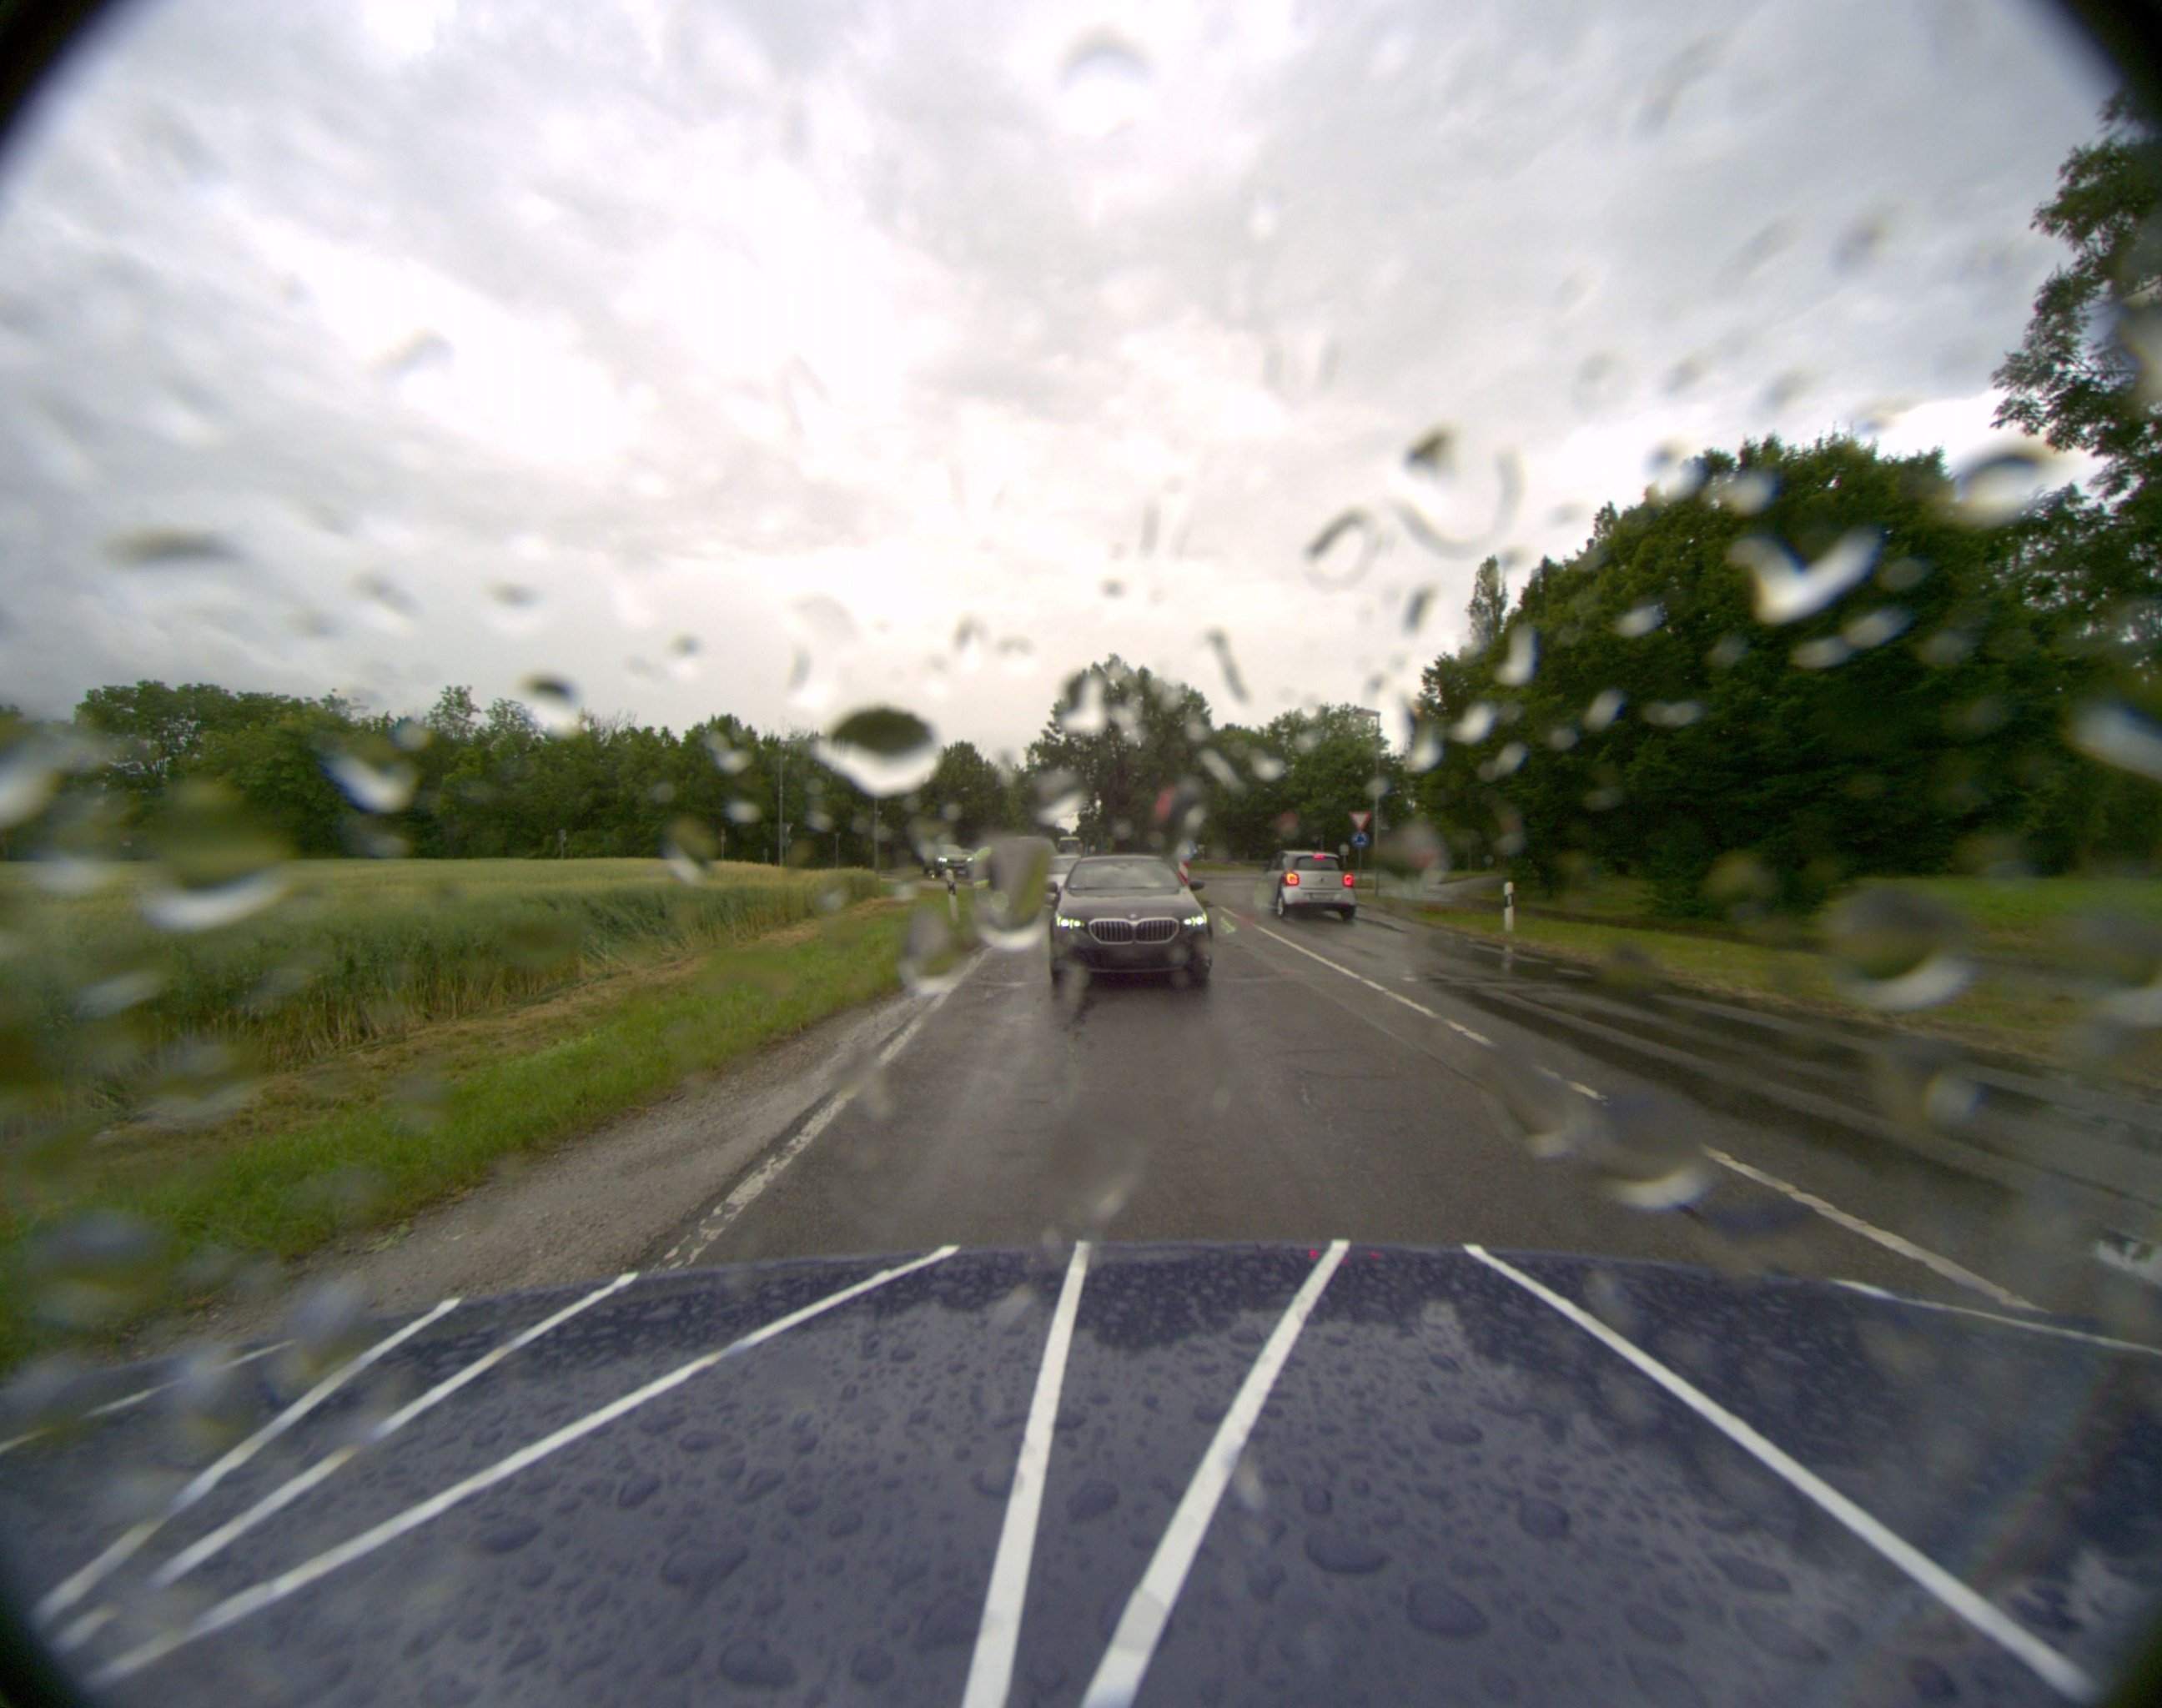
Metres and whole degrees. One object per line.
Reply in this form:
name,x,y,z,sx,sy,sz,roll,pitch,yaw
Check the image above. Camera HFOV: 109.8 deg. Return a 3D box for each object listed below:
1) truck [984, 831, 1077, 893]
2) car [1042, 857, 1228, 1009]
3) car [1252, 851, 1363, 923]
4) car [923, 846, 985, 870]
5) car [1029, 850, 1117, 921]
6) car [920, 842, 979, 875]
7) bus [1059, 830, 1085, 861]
truck,-2.059,0.188,28.862,2.078,2.050,5.759,-3,2,-18
car,0.567,0.831,9.893,1.892,1.484,4.035,-1,1,0
car,5.317,0.705,18.322,1.679,1.490,3.735,2,1,3
car,-8.633,0.226,52.051,1.888,1.522,4.509,-1,1,27
car,-0.319,0.701,19.373,1.892,1.482,4.189,-2,1,-5
car,-6.836,0.227,39.108,1.895,1.522,5.245,-2,1,-22
bus,-1.017,-1.111,99.208,2.996,3.665,14.293,0,1,1
